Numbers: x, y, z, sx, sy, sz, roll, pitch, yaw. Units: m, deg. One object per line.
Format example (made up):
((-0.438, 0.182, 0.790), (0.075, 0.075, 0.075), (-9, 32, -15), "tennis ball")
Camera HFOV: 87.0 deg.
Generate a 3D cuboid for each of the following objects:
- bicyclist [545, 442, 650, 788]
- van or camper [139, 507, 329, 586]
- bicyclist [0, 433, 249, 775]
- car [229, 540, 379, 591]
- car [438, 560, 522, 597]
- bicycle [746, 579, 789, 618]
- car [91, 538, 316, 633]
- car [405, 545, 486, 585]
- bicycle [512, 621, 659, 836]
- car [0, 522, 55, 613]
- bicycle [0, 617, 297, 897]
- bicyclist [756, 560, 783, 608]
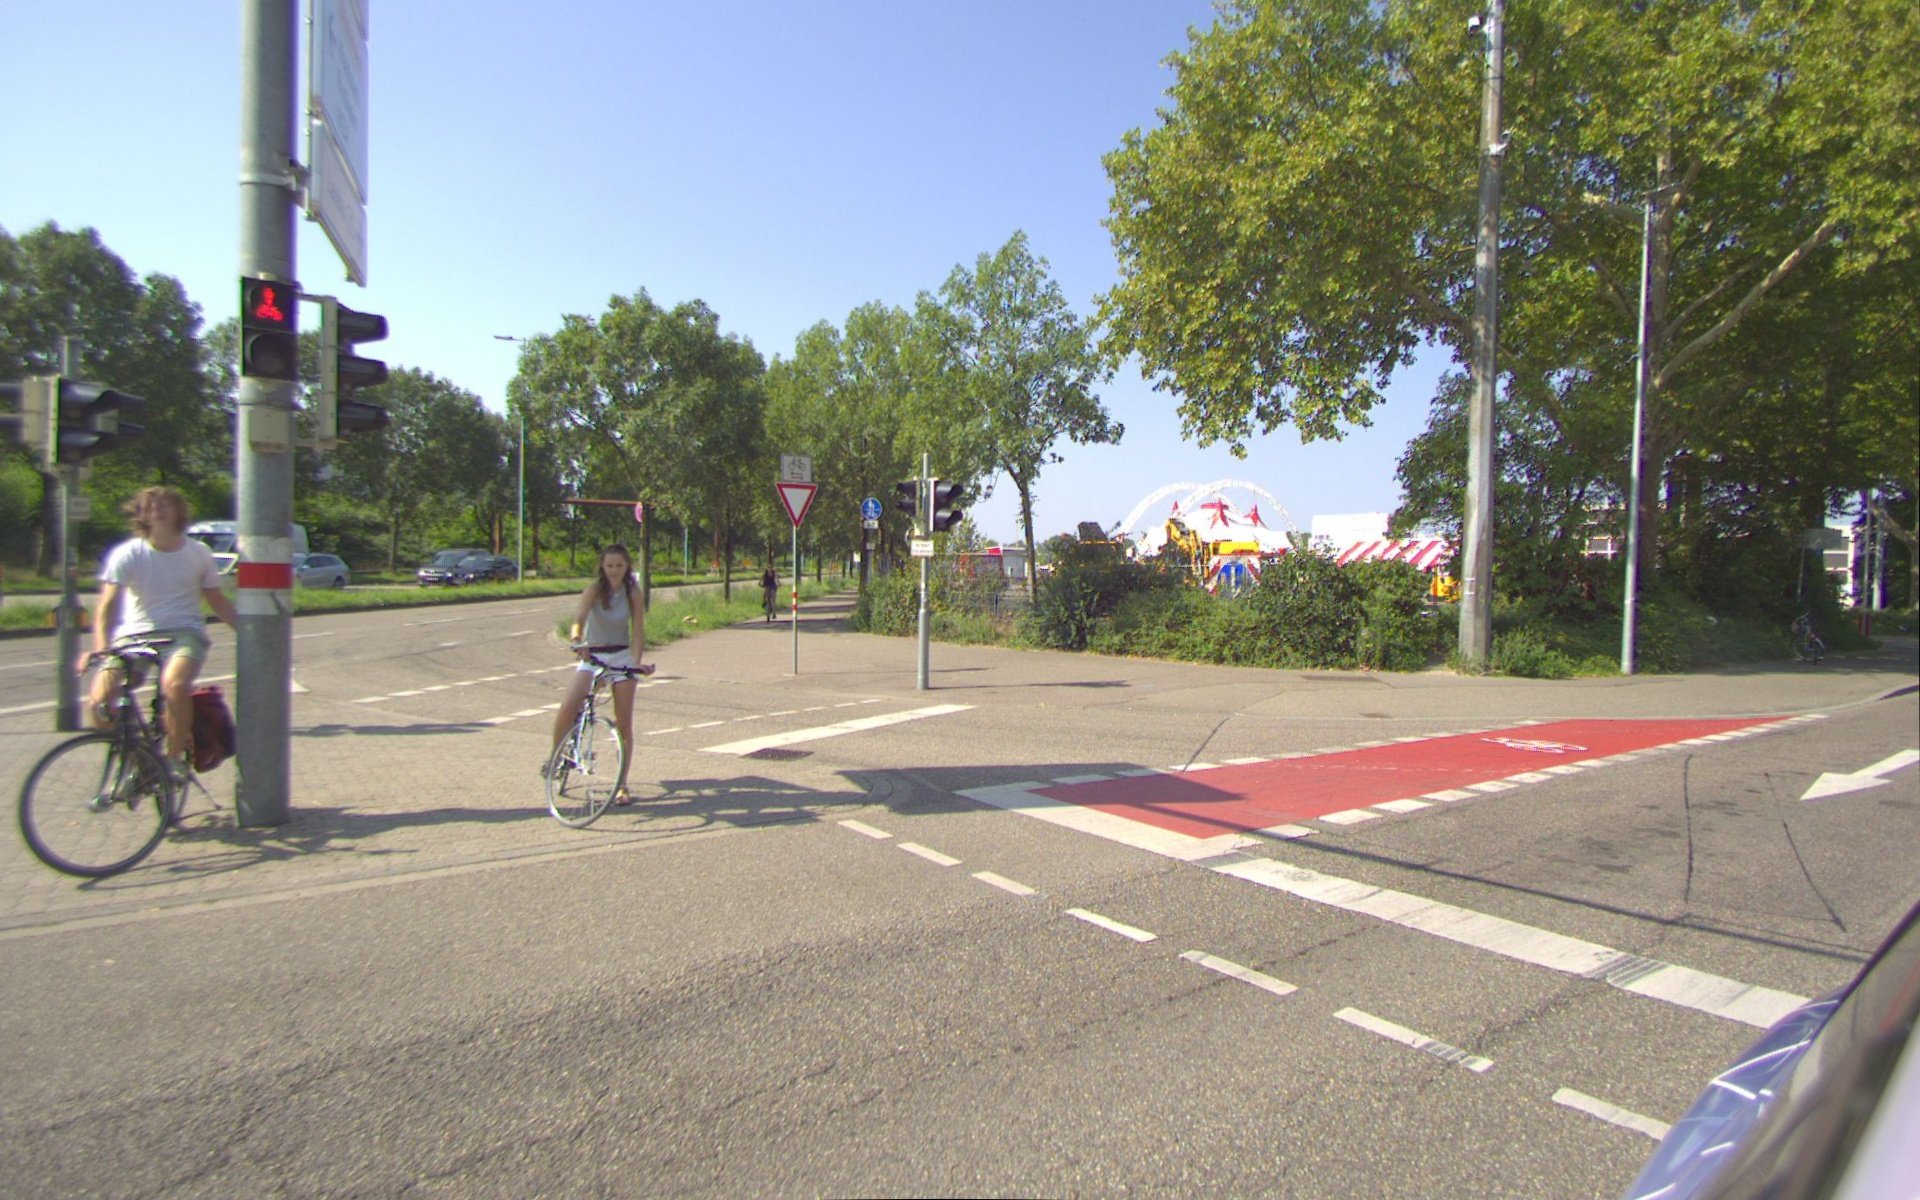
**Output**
((-2.353, 0.083, 6.630), (0.585, 2.039, 1.207), (0, 0, -18), "bicyclist")
((-26.145, -1.810, 36.902), (2.206, 2.514, 6.868), (0, 0, -2), "van or camper")
((-4.406, 0.016, 5.414), (0.585, 1.614, 1.207), (0, 0, -13), "bicyclist")
((-23.056, -1.160, 35.836), (2.125, 1.630, 4.974), (0, 0, 0), "car")
((-19.790, -0.864, 41.876), (1.625, 1.416, 3.754), (-1, 0, 1), "car")
((-5.504, -0.036, 29.011), (0.565, 1.070, 1.484), (-2, -1, 19), "bicycle")
((-20.192, -0.355, 27.397), (2.207, 2.290, 5.223), (0, 0, 0), "car")
((-23.130, -1.537, 45.653), (1.626, 1.685, 3.752), (0, 0, 3), "car")
((-2.459, 0.736, 6.753), (0.756, 1.101, 2.268), (1, 0, -19), "bicycle")
((-19.669, -0.619, 18.227), (2.105, 1.762, 5.223), (0, 0, 0), "car")
((-4.431, 0.697, 5.425), (0.756, 1.101, 2.225), (1, 1, -14), "bicycle")
((-5.475, -0.454, 29.118), (0.497, 1.382, 0.692), (-1, -1, 20), "bicyclist")
